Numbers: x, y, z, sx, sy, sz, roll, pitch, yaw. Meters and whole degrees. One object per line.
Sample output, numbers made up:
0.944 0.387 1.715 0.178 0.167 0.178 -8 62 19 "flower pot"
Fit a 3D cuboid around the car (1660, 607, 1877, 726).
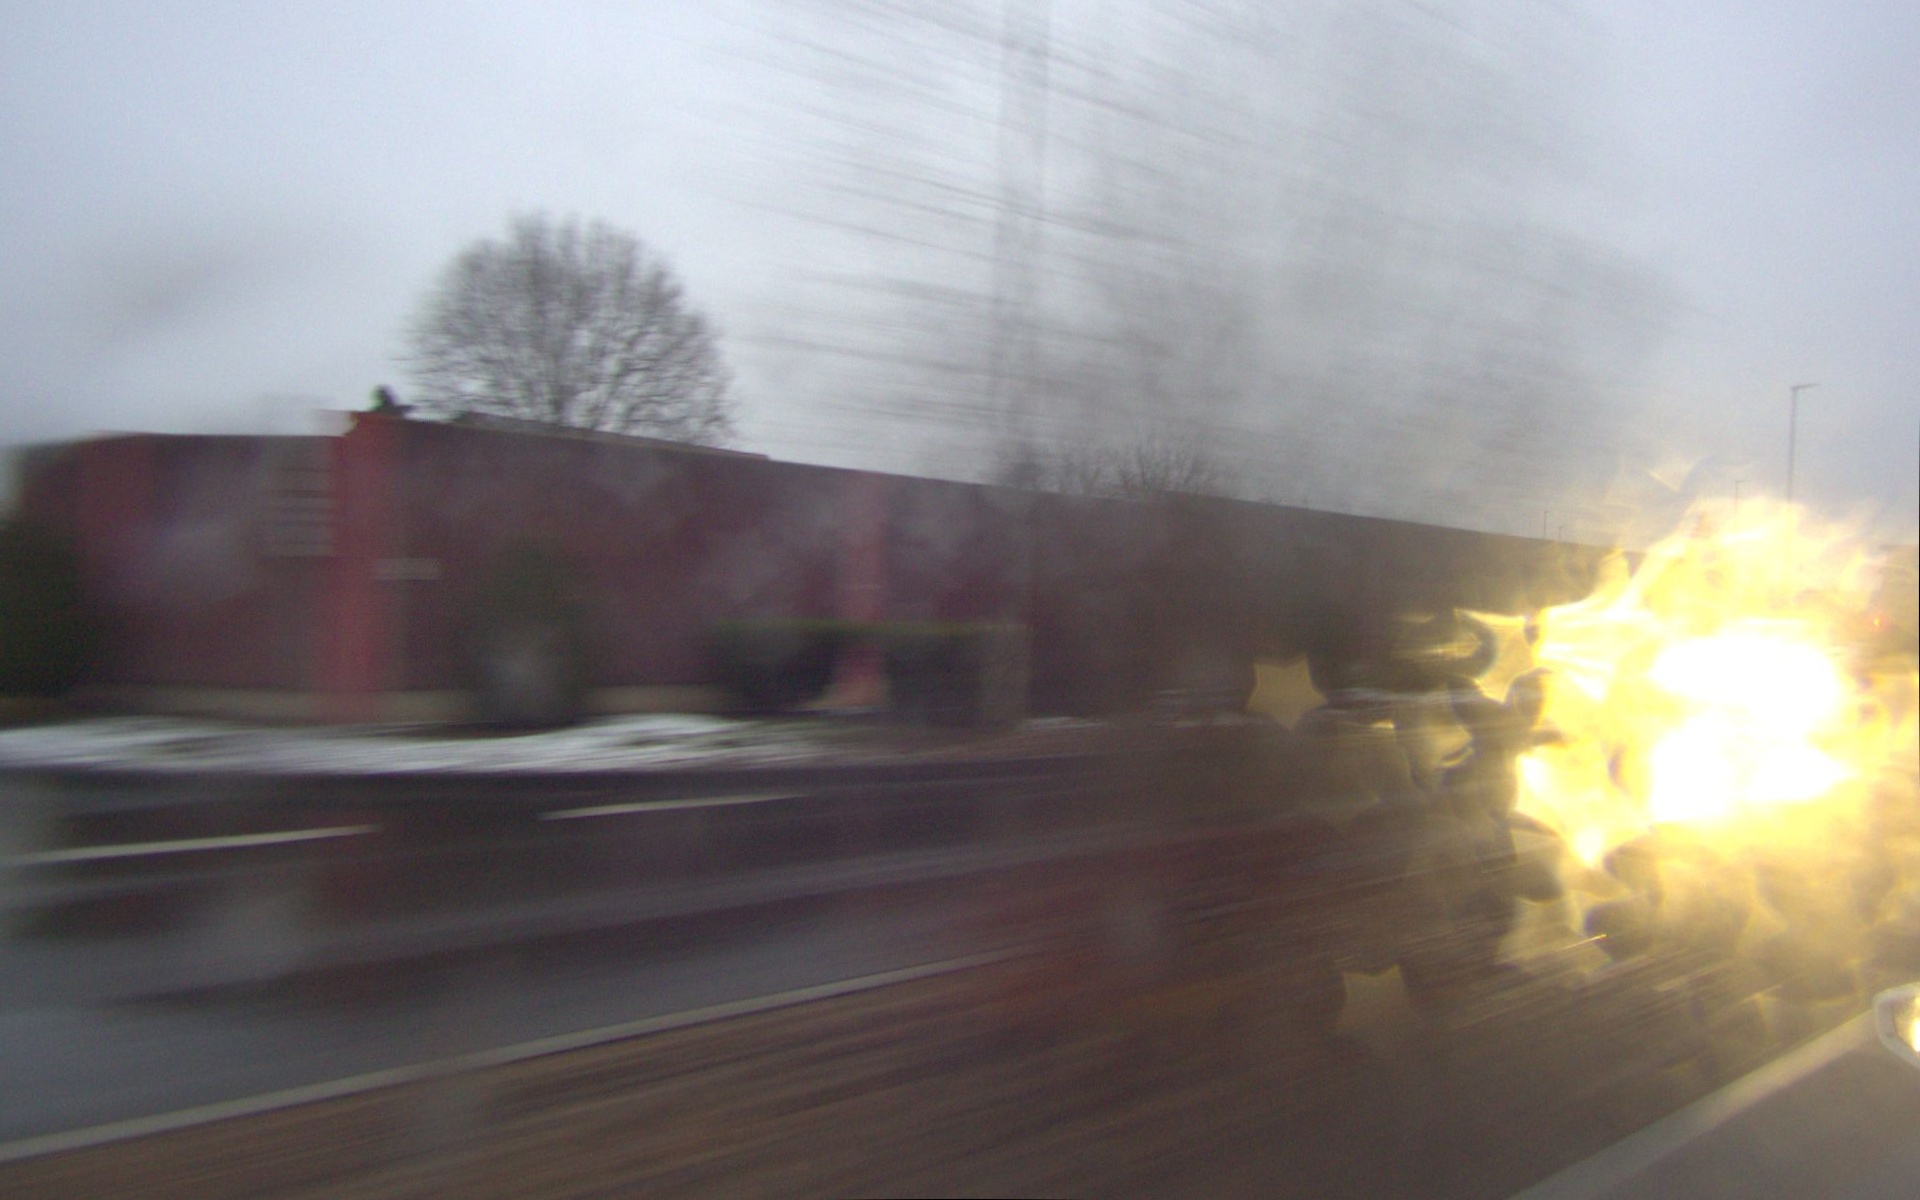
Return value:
12.635 0.983 15.635 3.848 1.599 1.682 2 -1 -36 "car"
